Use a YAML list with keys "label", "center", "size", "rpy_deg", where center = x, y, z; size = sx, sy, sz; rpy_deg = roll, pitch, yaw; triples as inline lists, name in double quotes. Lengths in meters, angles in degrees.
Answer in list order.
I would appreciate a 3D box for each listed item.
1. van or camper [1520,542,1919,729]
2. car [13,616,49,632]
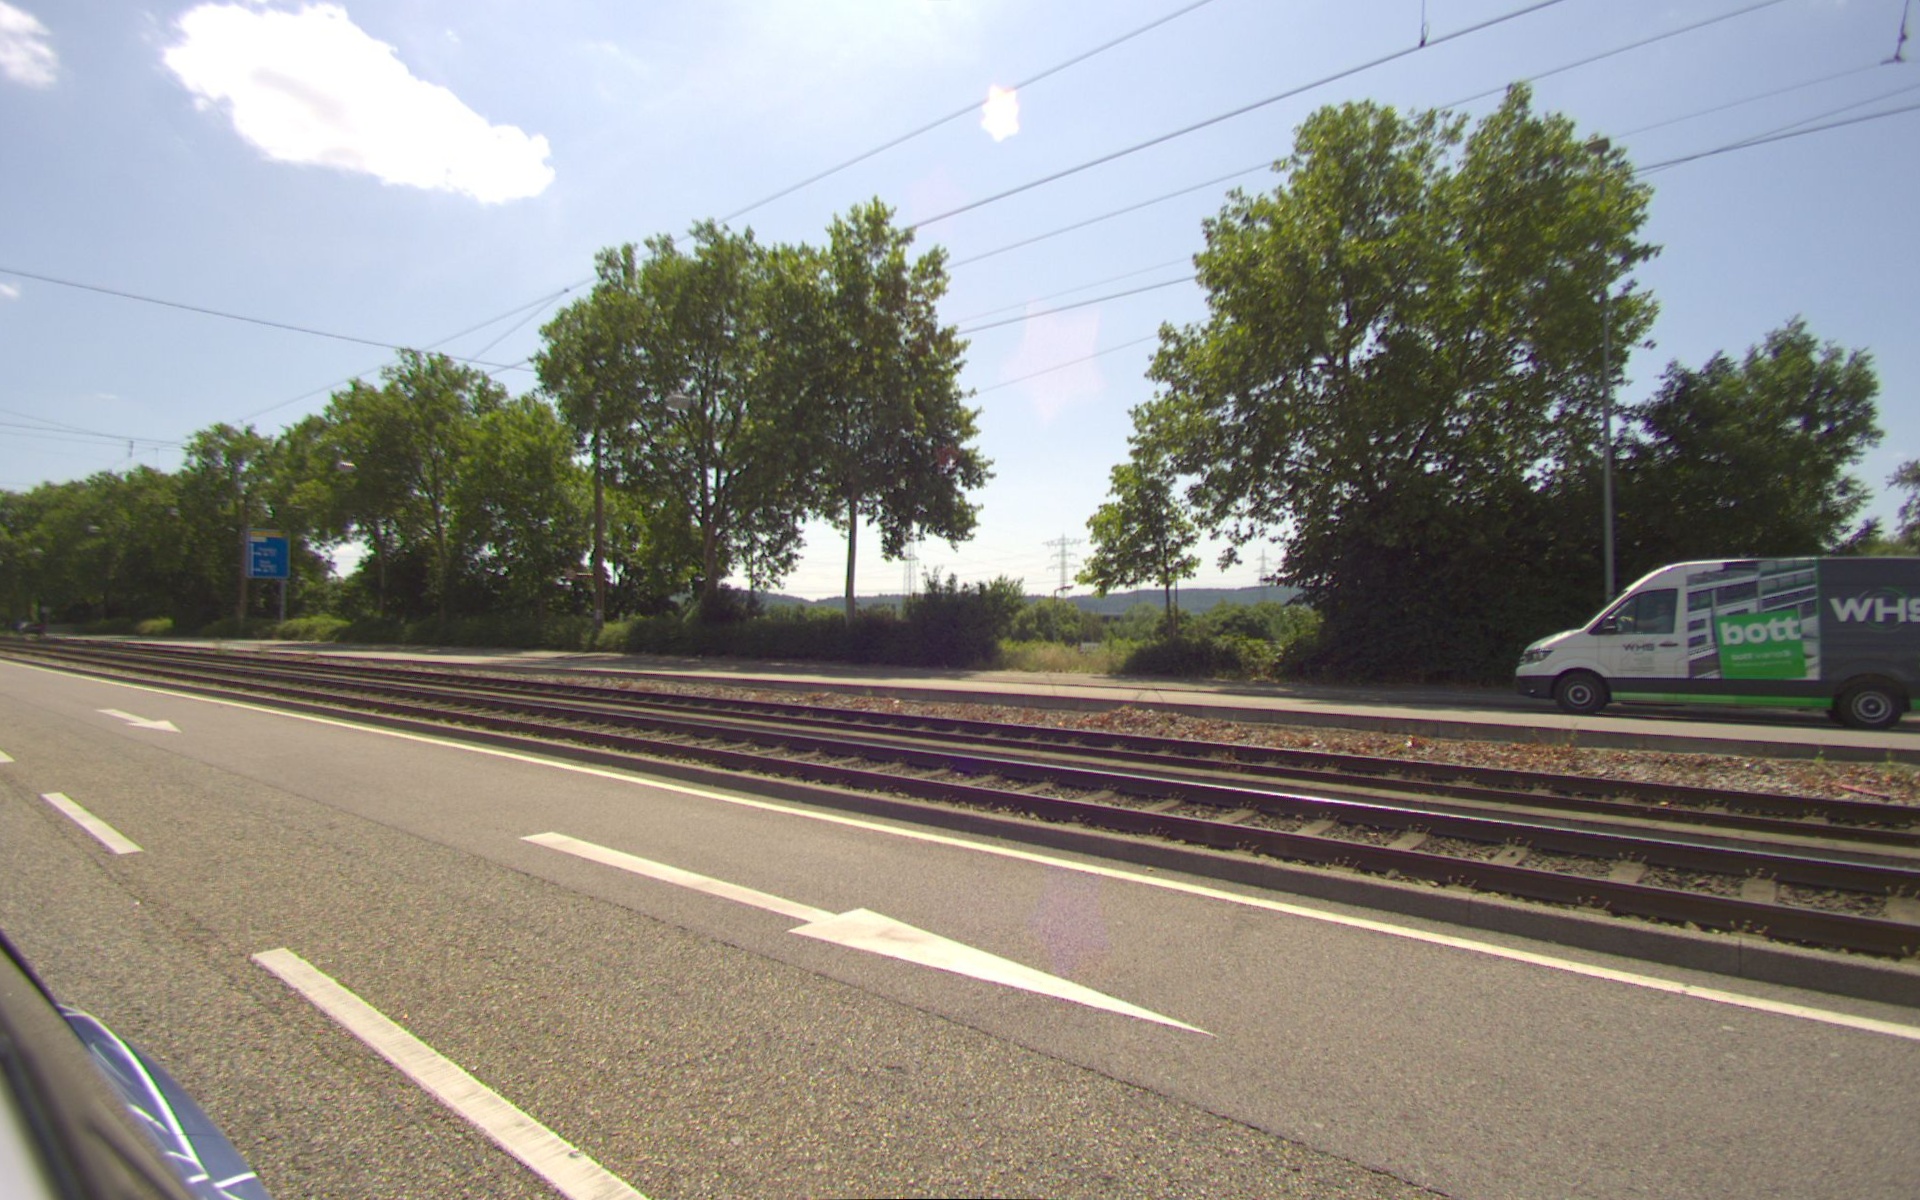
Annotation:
- label: "van or camper"
  center: [12.295, 0.552, 16.016]
  size: [5.830, 2.606, 1.976]
  rpy_deg: [-1, -3, 35]
- label: "car"
  center: [-96.839, 2.523, 105.476]
  size: [4.257, 1.649, 1.975]
  rpy_deg: [-1, -2, 36]
